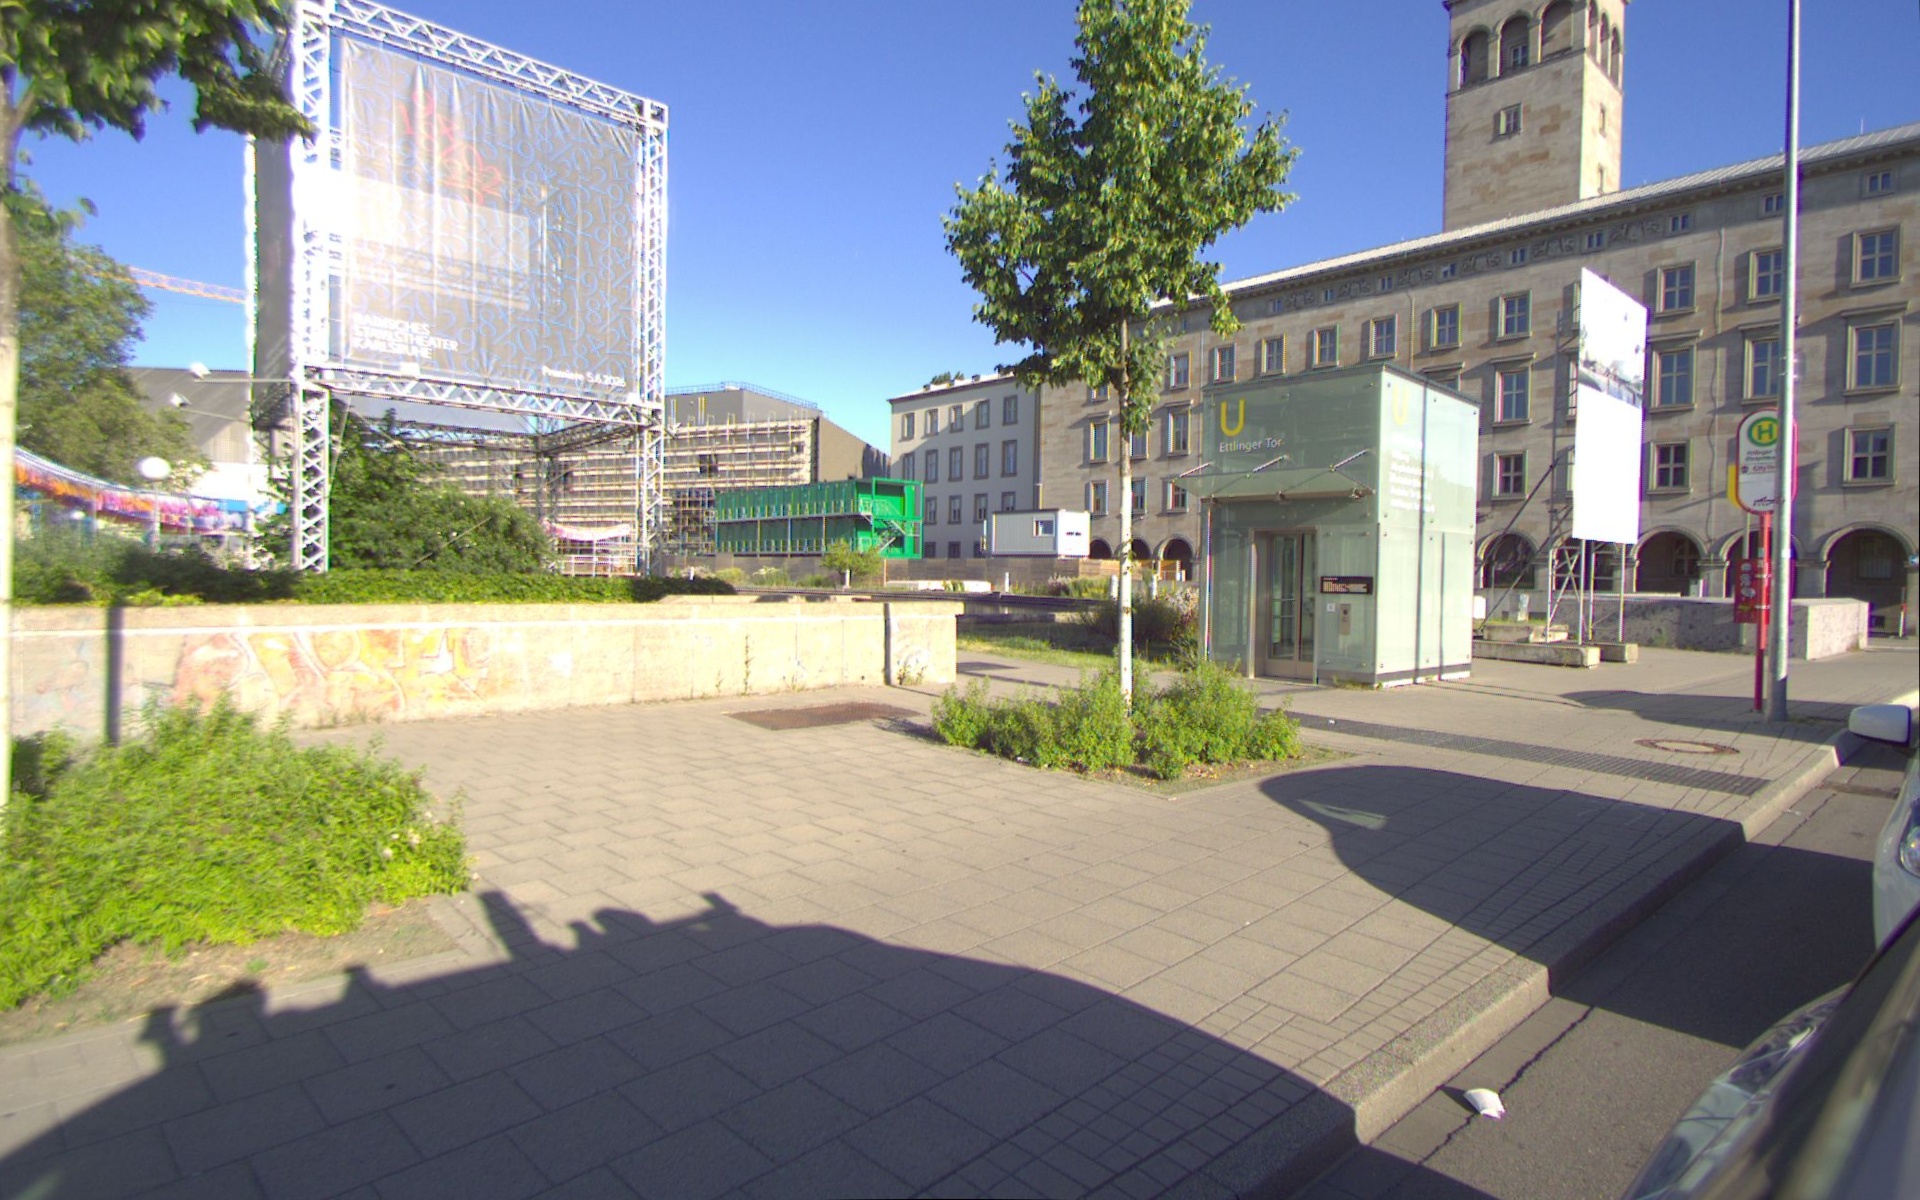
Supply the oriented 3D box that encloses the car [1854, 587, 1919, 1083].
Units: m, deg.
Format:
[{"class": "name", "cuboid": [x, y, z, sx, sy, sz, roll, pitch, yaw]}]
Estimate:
[{"class": "car", "cuboid": [4.799, 0.696, 3.796, 3.899, 1.490, 1.658, 0, 0, -41]}]
